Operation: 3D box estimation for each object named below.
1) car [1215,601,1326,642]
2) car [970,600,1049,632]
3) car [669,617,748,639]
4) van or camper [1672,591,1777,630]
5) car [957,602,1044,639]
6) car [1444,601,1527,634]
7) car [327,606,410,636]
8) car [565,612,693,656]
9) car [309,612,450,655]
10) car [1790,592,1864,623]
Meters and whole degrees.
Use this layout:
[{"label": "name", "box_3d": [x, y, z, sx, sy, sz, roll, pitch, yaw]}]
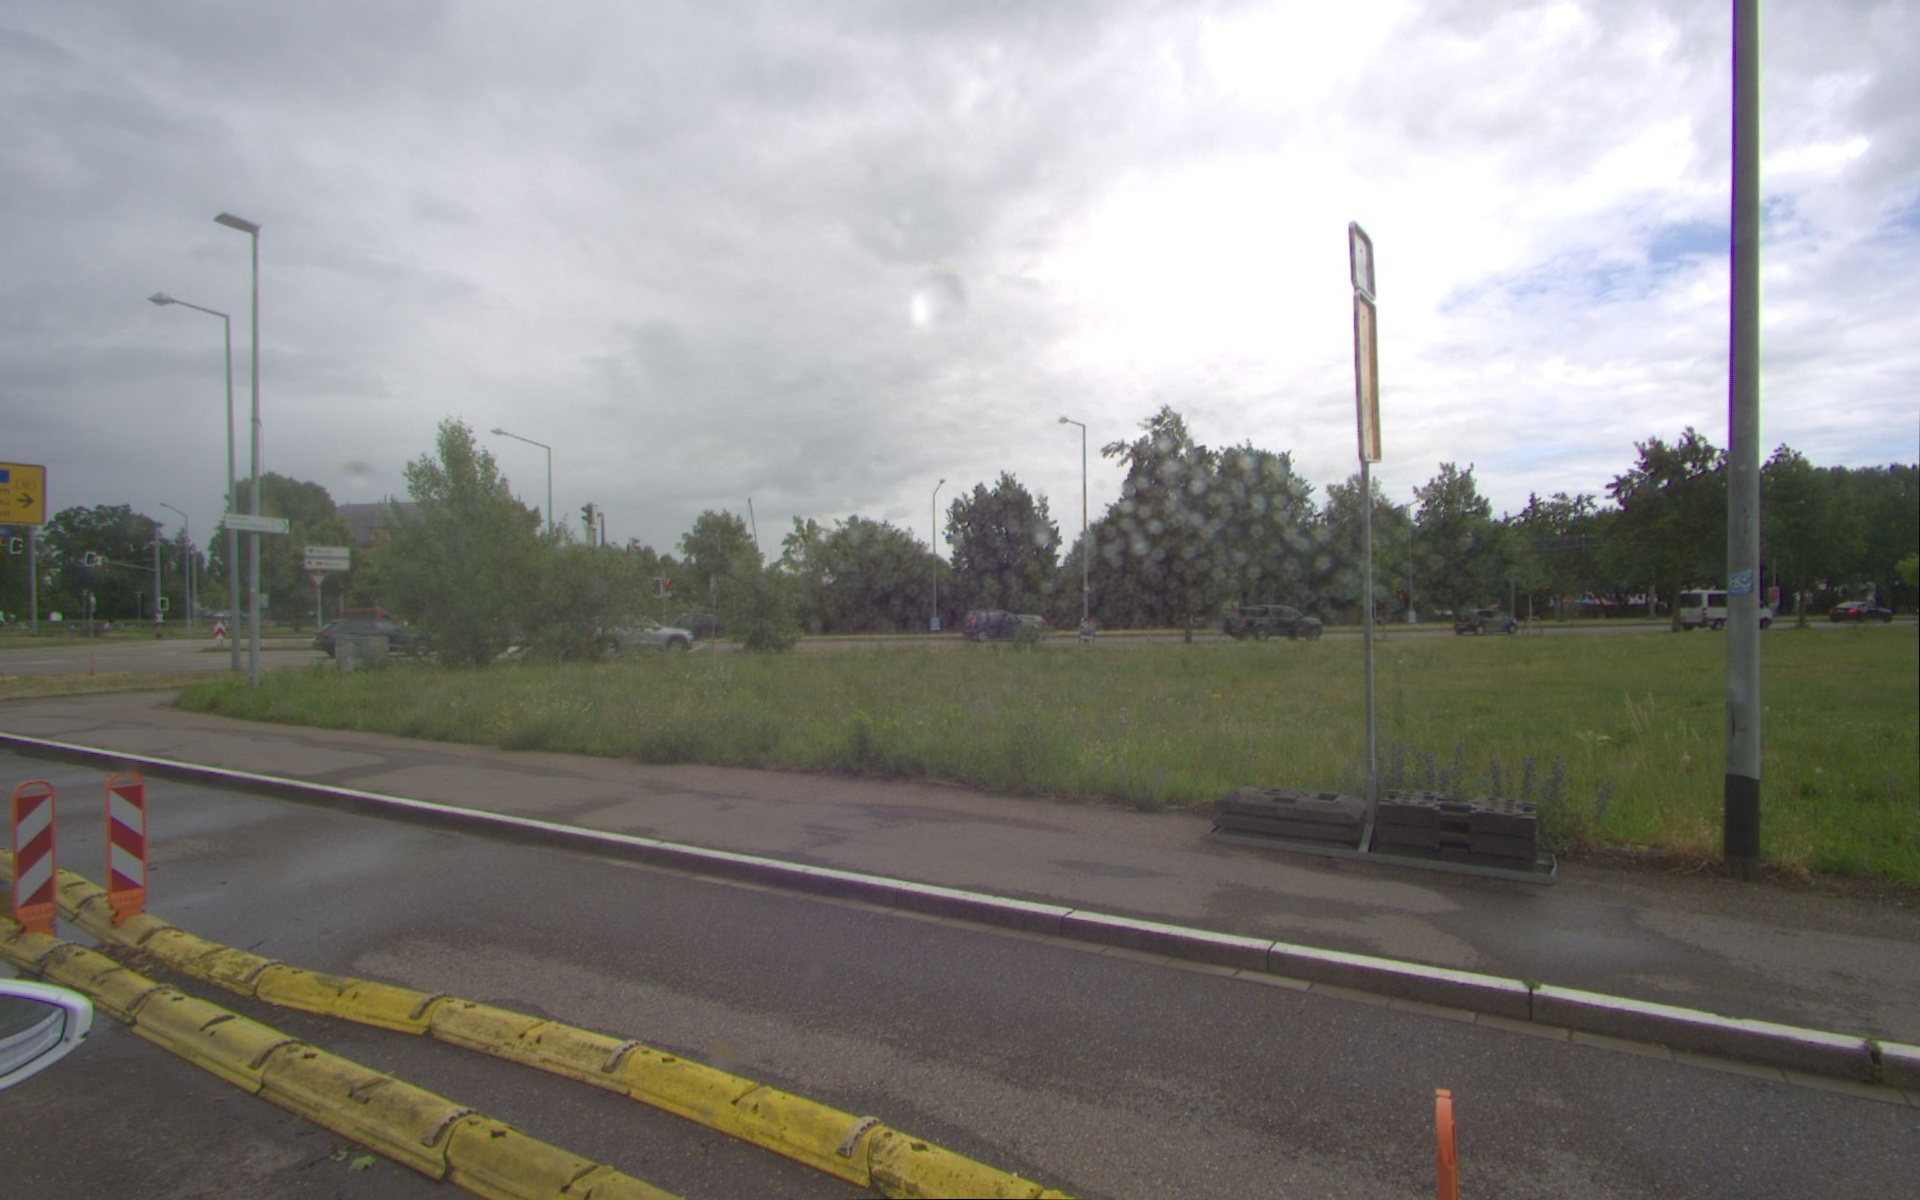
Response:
[{"label": "car", "box_3d": [15.618, 1.045, 50.464, 4.953, 1.998, 2.219, 0, 0, -17]}, {"label": "car", "box_3d": [3.222, 1.052, 65.924, 4.849, 2.040, 1.998, 0, 0, -12]}, {"label": "car", "box_3d": [-15.537, 1.723, 62.090, 4.667, 1.314, 1.998, 0, 0, -12]}, {"label": "van or camper", "box_3d": [44.277, 0.590, 58.027, 5.453, 2.143, 1.997, 0, 0, -16]}, {"label": "car", "box_3d": [2.099, 1.060, 52.246, 4.132, 1.837, 2.075, 0, 0, -15]}, {"label": "car", "box_3d": [30.100, 0.989, 57.392, 3.927, 1.873, 1.997, 0, 0, -14]}, {"label": "car", "box_3d": [-39.021, 1.357, 66.114, 4.804, 1.943, 2.111, 0, 0, 19]}, {"label": "car", "box_3d": [-13.030, 1.302, 39.481, 4.469, 1.604, 1.988, 0, 0, -32]}, {"label": "car", "box_3d": [-21.938, 1.216, 37.949, 4.280, 1.483, 1.980, 0, 0, -45]}, {"label": "car", "box_3d": [59.399, 0.516, 68.604, 3.928, 2.040, 1.997, 0, 0, -15]}]
